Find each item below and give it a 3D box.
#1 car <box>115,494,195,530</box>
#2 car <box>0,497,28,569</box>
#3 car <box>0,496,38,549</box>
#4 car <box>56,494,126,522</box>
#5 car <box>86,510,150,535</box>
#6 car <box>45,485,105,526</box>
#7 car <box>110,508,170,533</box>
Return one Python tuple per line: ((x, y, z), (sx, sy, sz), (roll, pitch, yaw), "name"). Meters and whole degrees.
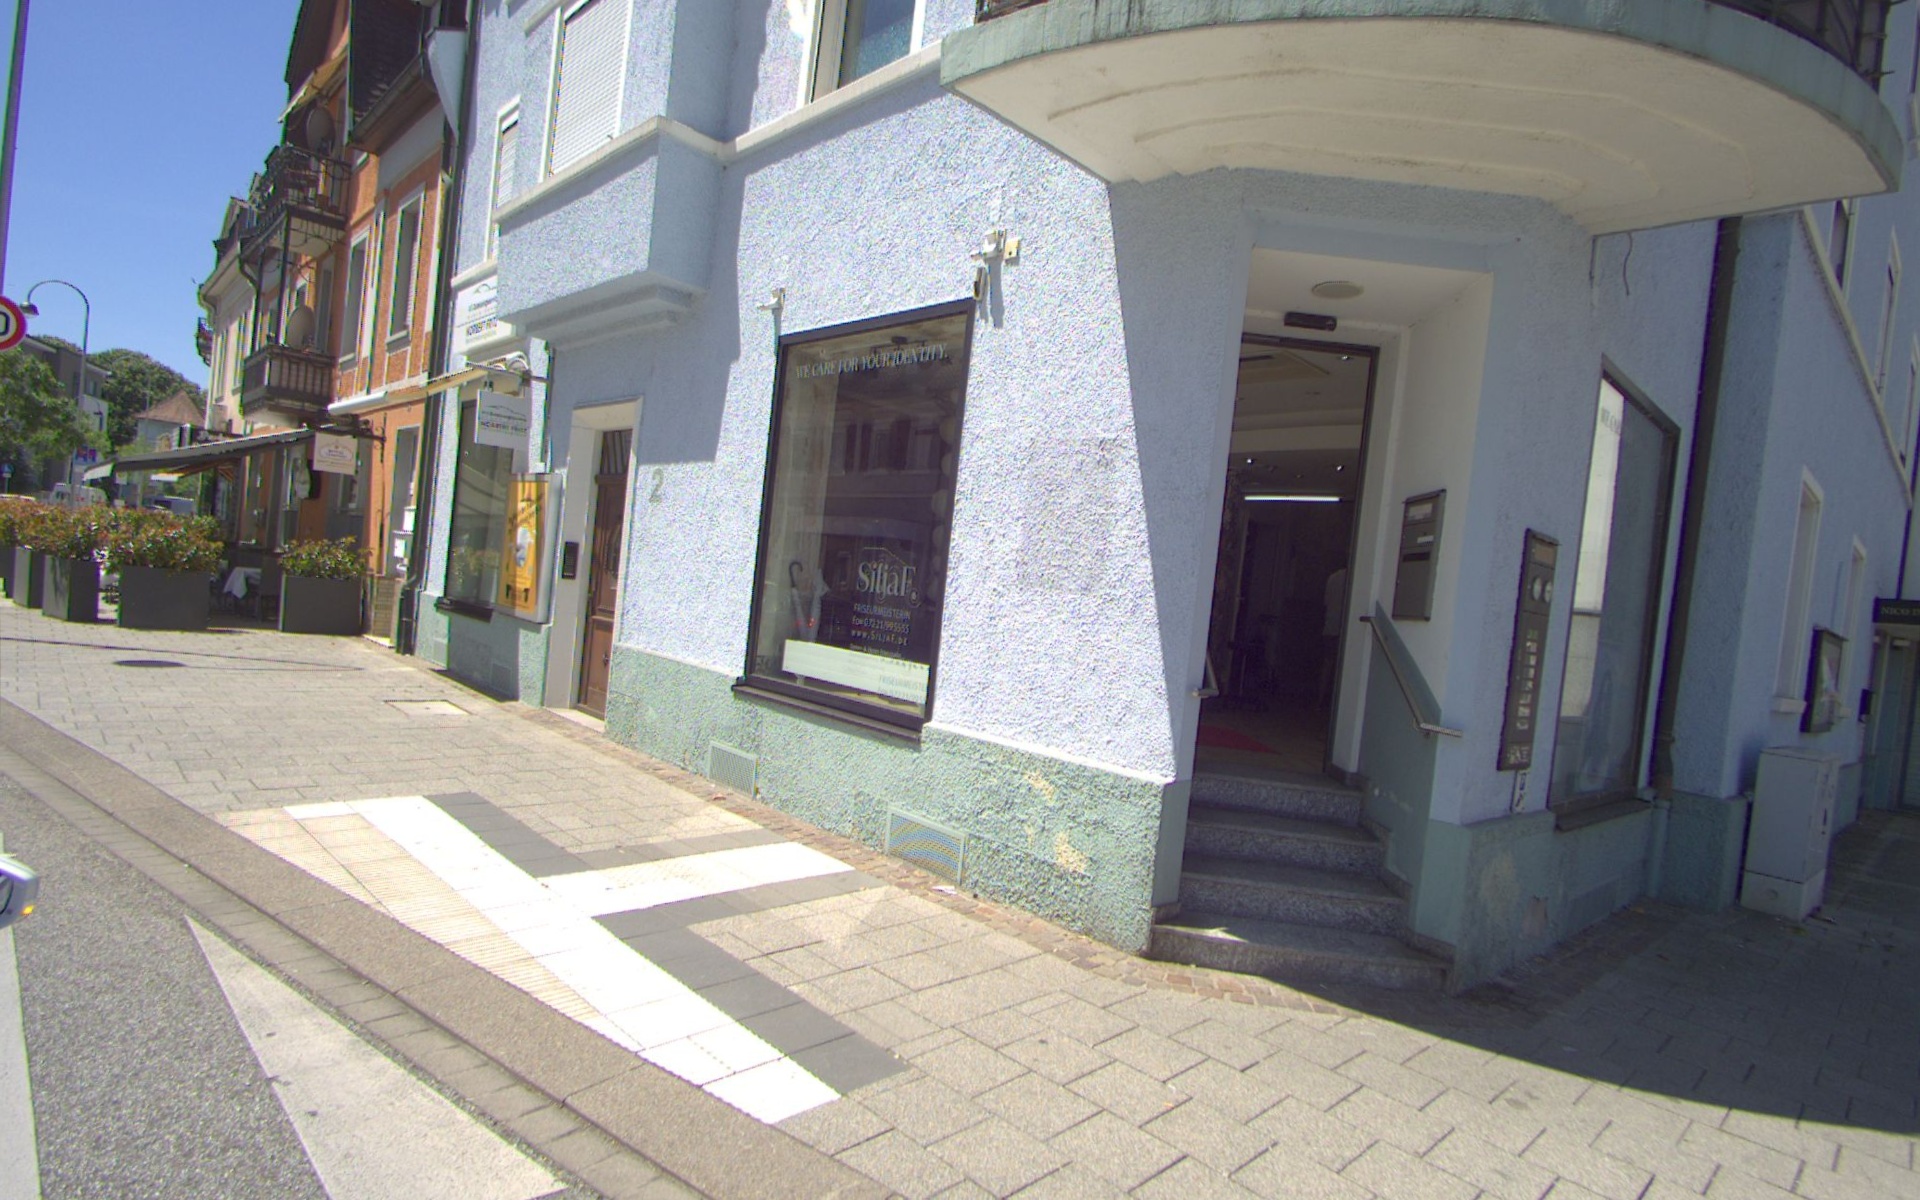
((-81.203, -8.852, 101.606), (5.582, 2.610, 2.503), (7, 0, -21), "car")
((-21.922, -1.562, 22.299), (1.740, 1.506, 3.954), (1, 3, -41), "car")
((-30.869, -2.563, 32.435), (1.599, 1.550, 3.450), (4, 1, -43), "car")
((-74.026, -7.847, 85.738), (3.946, 1.682, 1.990), (7, -1, -23), "car")
((-76.863, -7.072, 91.874), (3.946, 1.682, 1.990), (7, -1, -23), "car")
((-53.819, -5.709, 61.240), (1.980, 2.038, 3.967), (7, -1, -32), "car")
((-79.061, -7.652, 97.085), (3.946, 1.682, 1.990), (7, -1, -23), "car")
